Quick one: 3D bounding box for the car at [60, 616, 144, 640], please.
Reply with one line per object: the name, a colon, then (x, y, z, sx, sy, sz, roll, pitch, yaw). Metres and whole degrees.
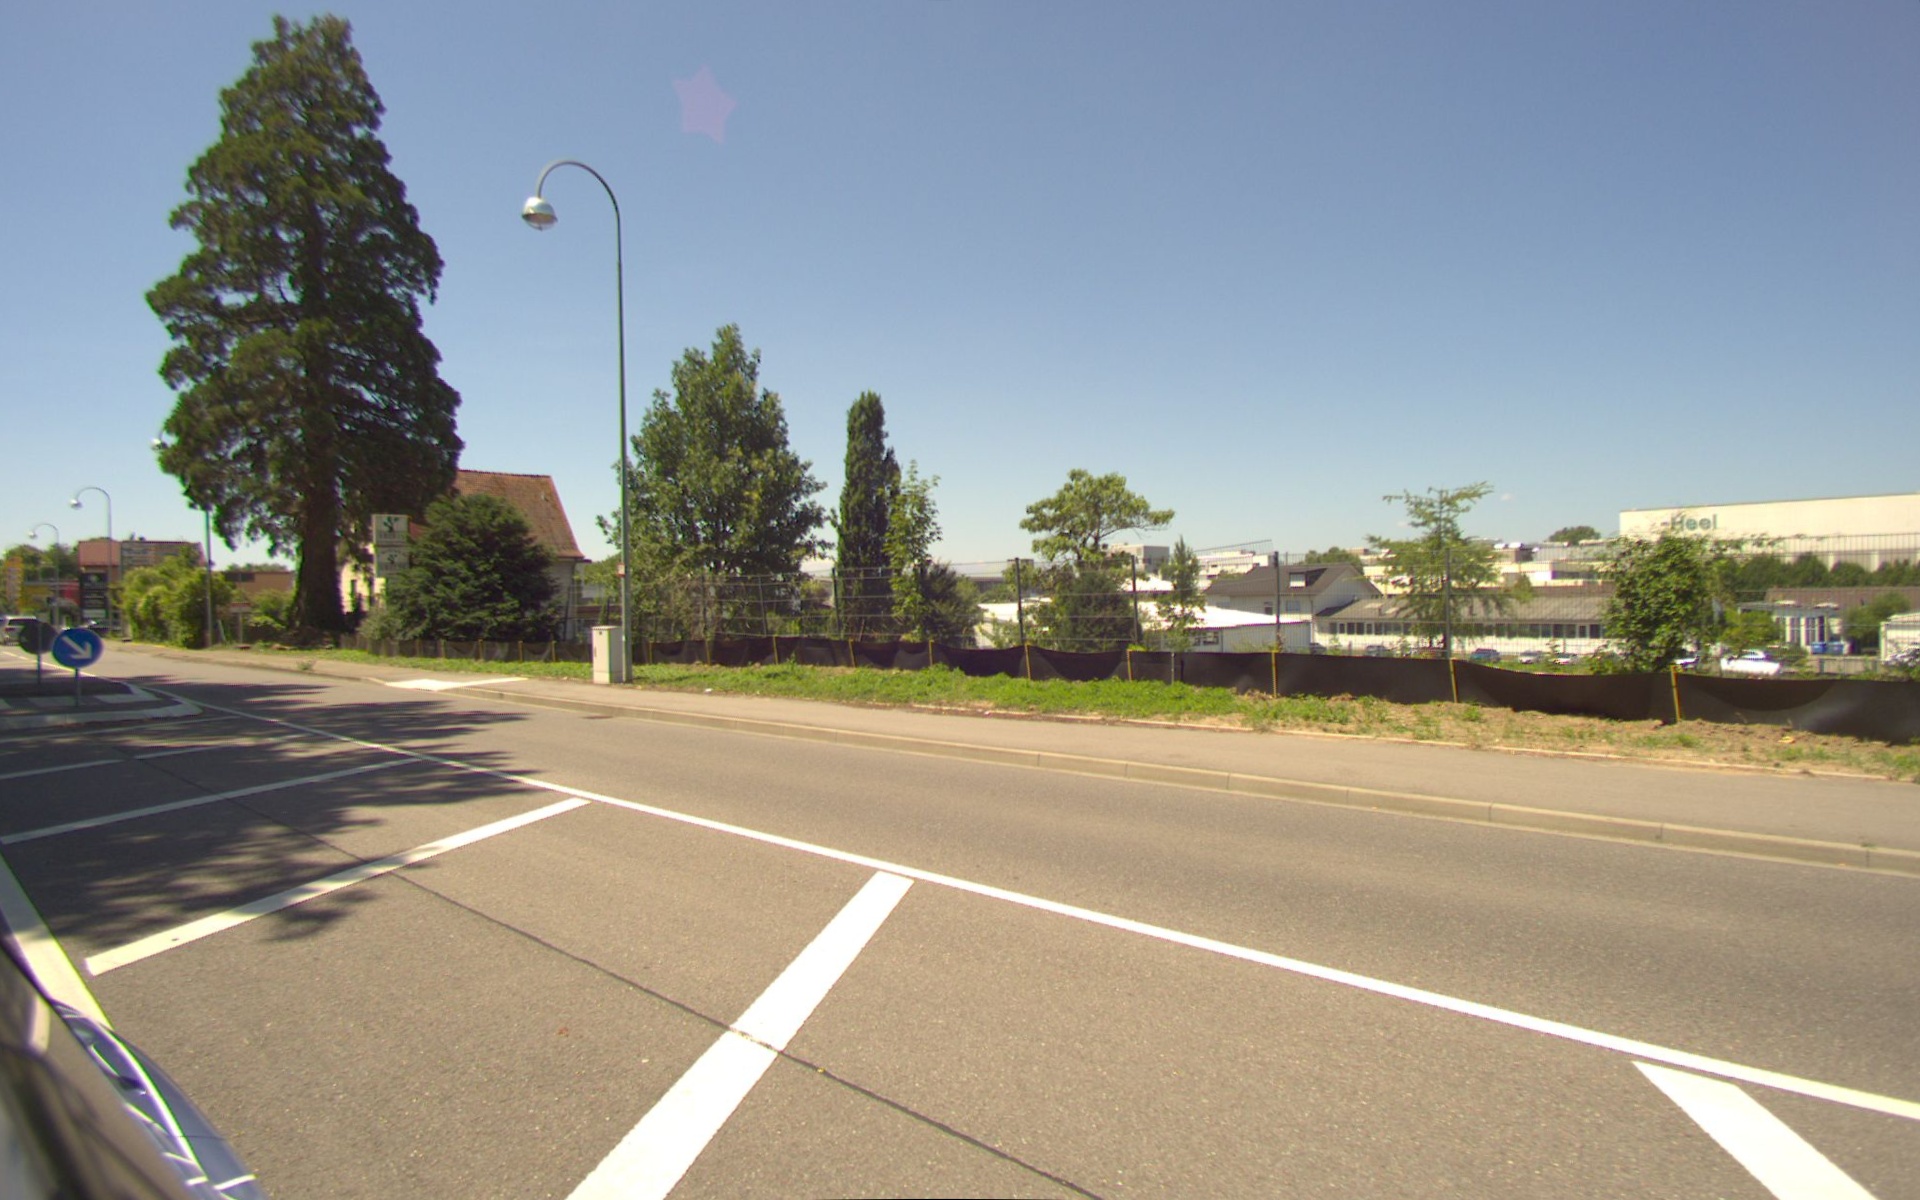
car: (-60.331, 1.943, 71.263, 4.246, 1.561, 1.891, 0, -1, -29)

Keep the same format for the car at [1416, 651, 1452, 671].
car: (46.438, 5.962, 99.184, 2.001, 1.586, 3.942, -1, 0, 45)

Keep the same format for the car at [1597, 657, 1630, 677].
car: (56.969, 5.790, 88.210, 1.998, 1.519, 3.947, -1, -1, 39)

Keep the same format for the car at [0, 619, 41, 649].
car: (-53.966, 1.900, 57.725, 4.687, 1.657, 1.764, -1, -2, 41)

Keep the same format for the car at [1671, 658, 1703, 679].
car: (60.920, 5.735, 84.781, 1.998, 1.519, 3.947, -1, -1, 39)

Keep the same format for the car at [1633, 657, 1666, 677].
car: (59.296, 5.760, 87.044, 1.998, 1.519, 3.947, -1, -1, 39)

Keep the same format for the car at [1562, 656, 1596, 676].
car: (54.528, 5.818, 89.116, 1.998, 1.519, 3.947, -1, -1, 39)

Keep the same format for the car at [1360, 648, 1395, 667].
car: (42.654, 5.862, 103.363, 2.001, 1.586, 3.942, -1, 0, 45)

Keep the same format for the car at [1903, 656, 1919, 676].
car: (79.926, 5.425, 82.714, 1.969, 1.519, 4.005, 0, -1, -42)

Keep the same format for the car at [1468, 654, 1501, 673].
car: (48.906, 5.902, 94.396, 1.998, 1.519, 3.947, -1, -1, 39)

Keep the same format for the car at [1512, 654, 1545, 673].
car: (52.369, 5.863, 93.249, 1.998, 1.519, 3.947, -1, -1, 39)

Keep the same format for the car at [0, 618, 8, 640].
car: (-70.938, 2.119, 73.766, 4.319, 1.561, 1.859, -1, -1, 42)

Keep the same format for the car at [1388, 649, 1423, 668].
car: (44.610, 5.838, 101.308, 2.001, 1.586, 3.942, -1, 0, 45)
